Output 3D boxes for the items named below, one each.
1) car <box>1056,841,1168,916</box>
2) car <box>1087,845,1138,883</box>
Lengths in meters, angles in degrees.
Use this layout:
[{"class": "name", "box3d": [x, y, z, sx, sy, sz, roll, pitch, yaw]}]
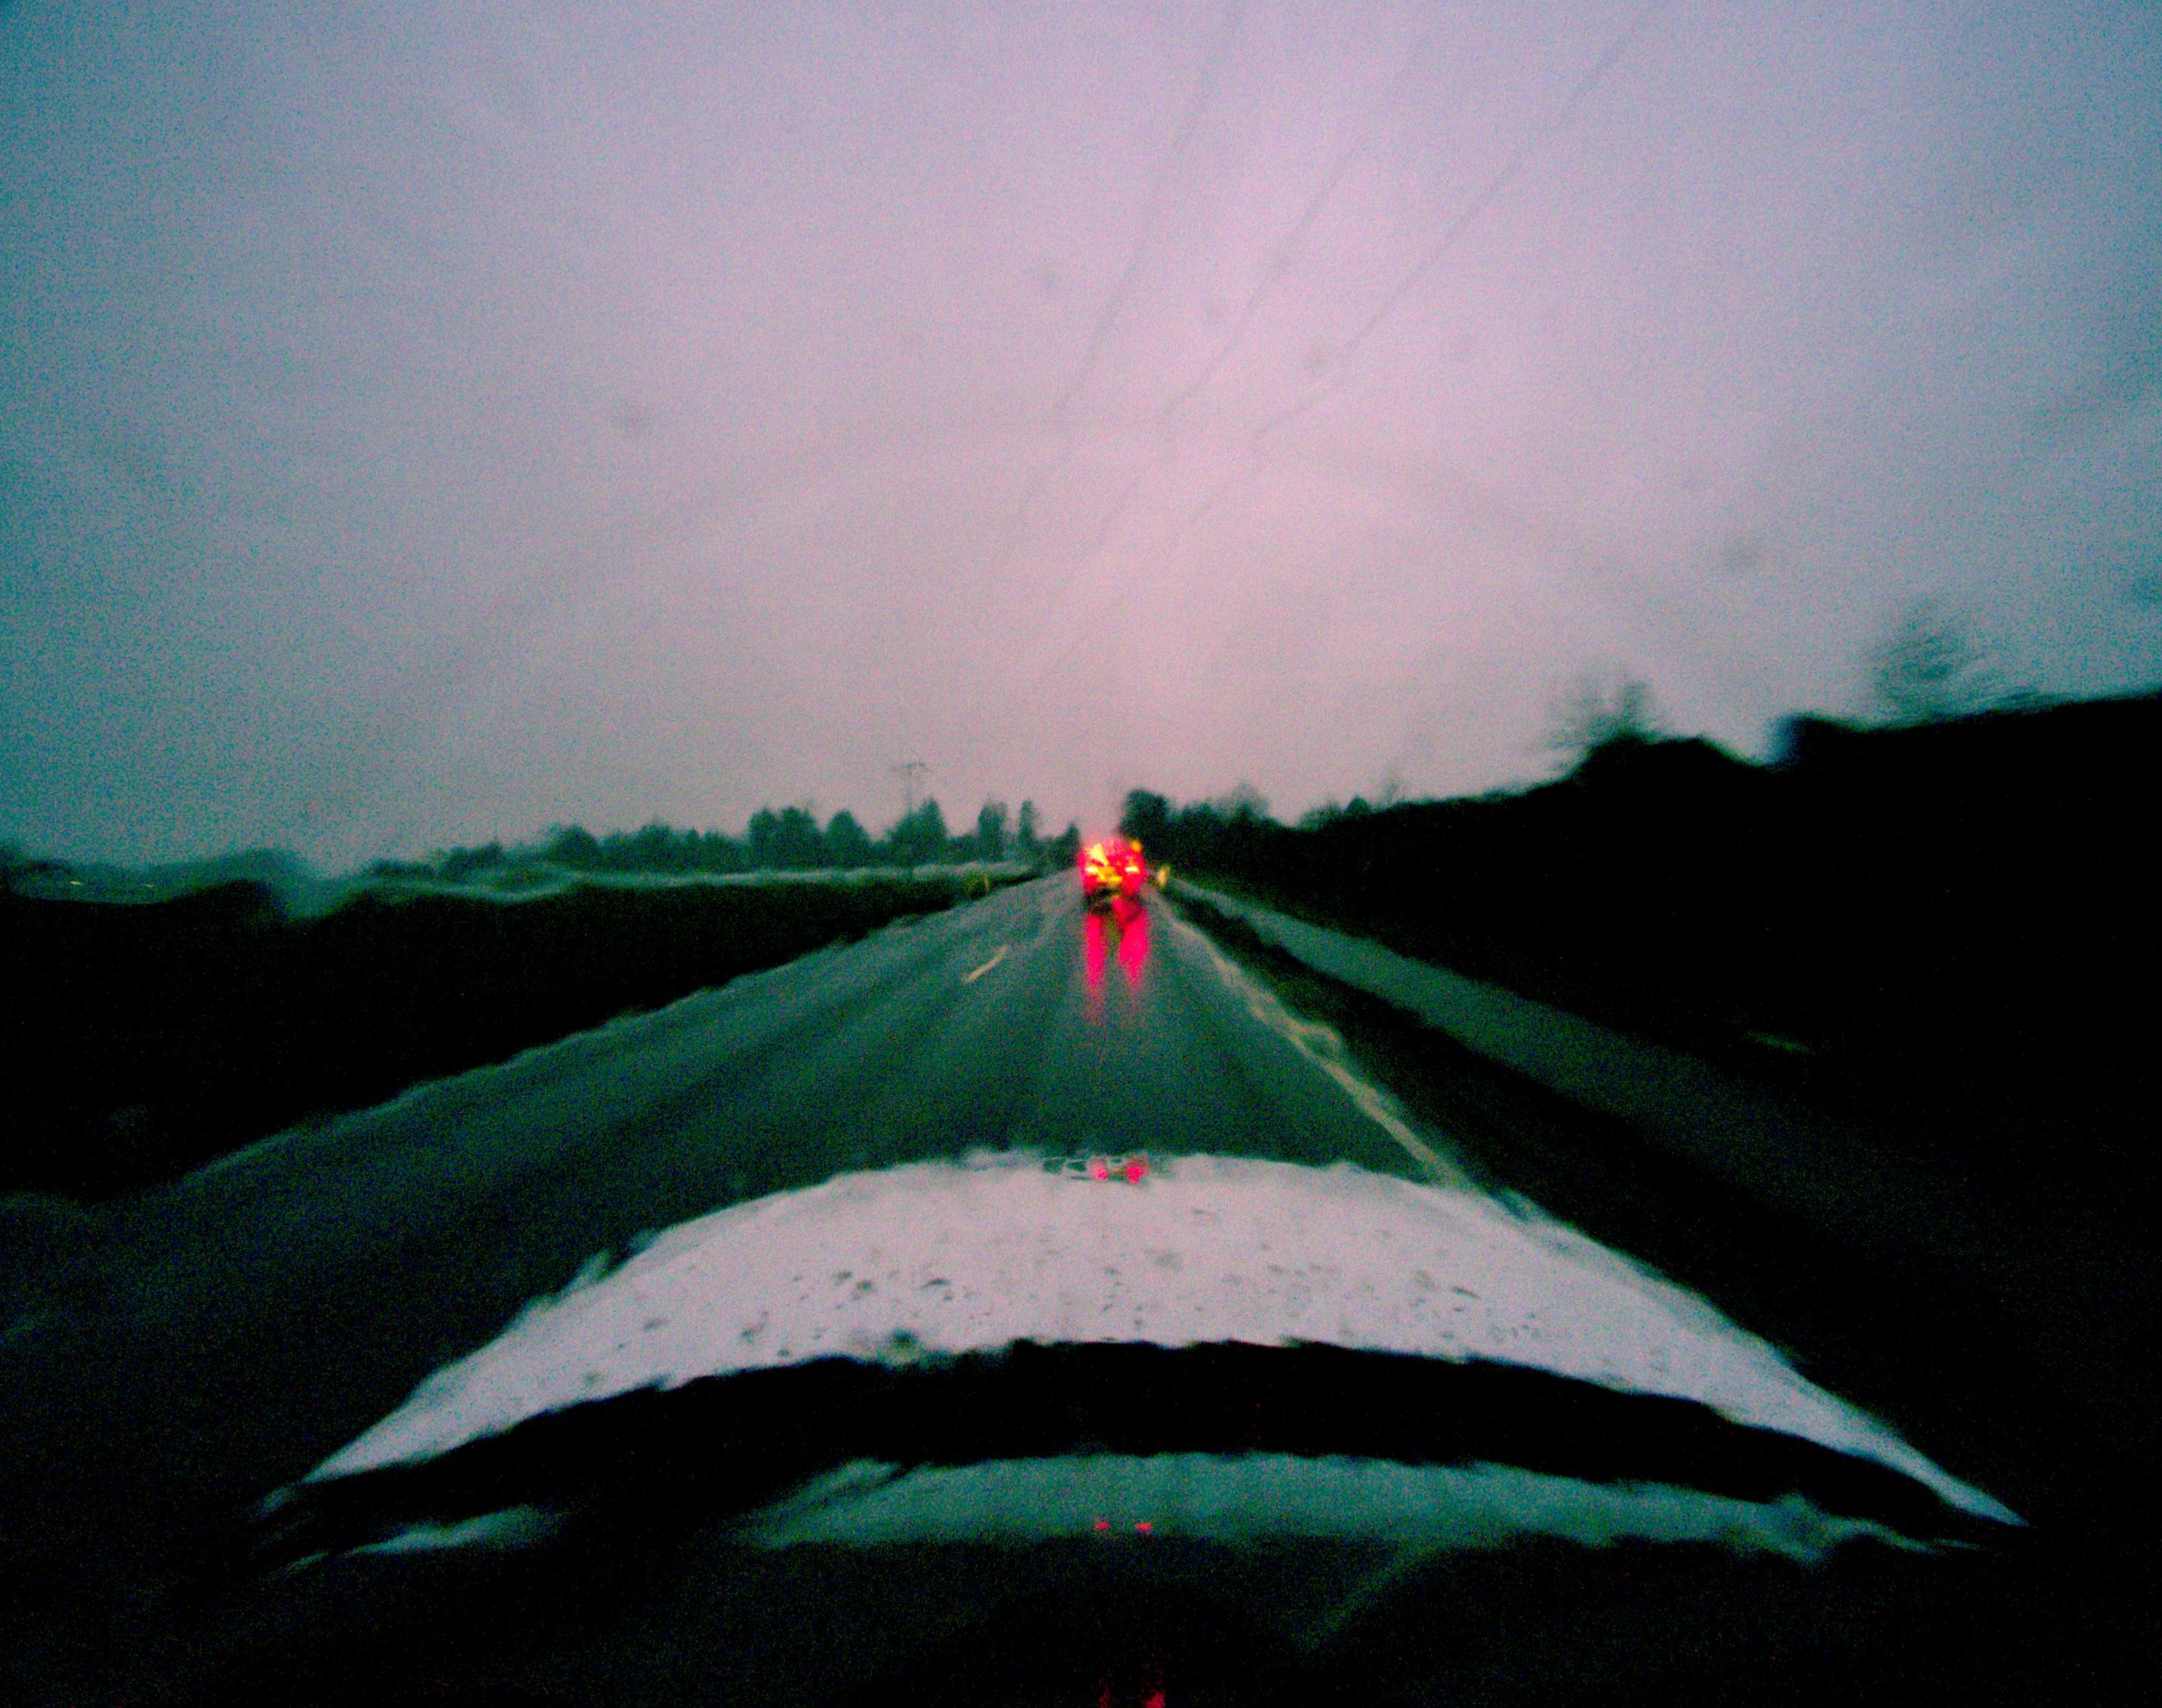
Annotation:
[{"class": "car", "box3d": [1.040, 0.688, 26.806, 3.152, 2.035, 6.856, -2, 0, 2]}, {"class": "car", "box3d": [1.910, 0.545, 48.737, 2.745, 2.035, 6.595, -2, 0, 3]}]
